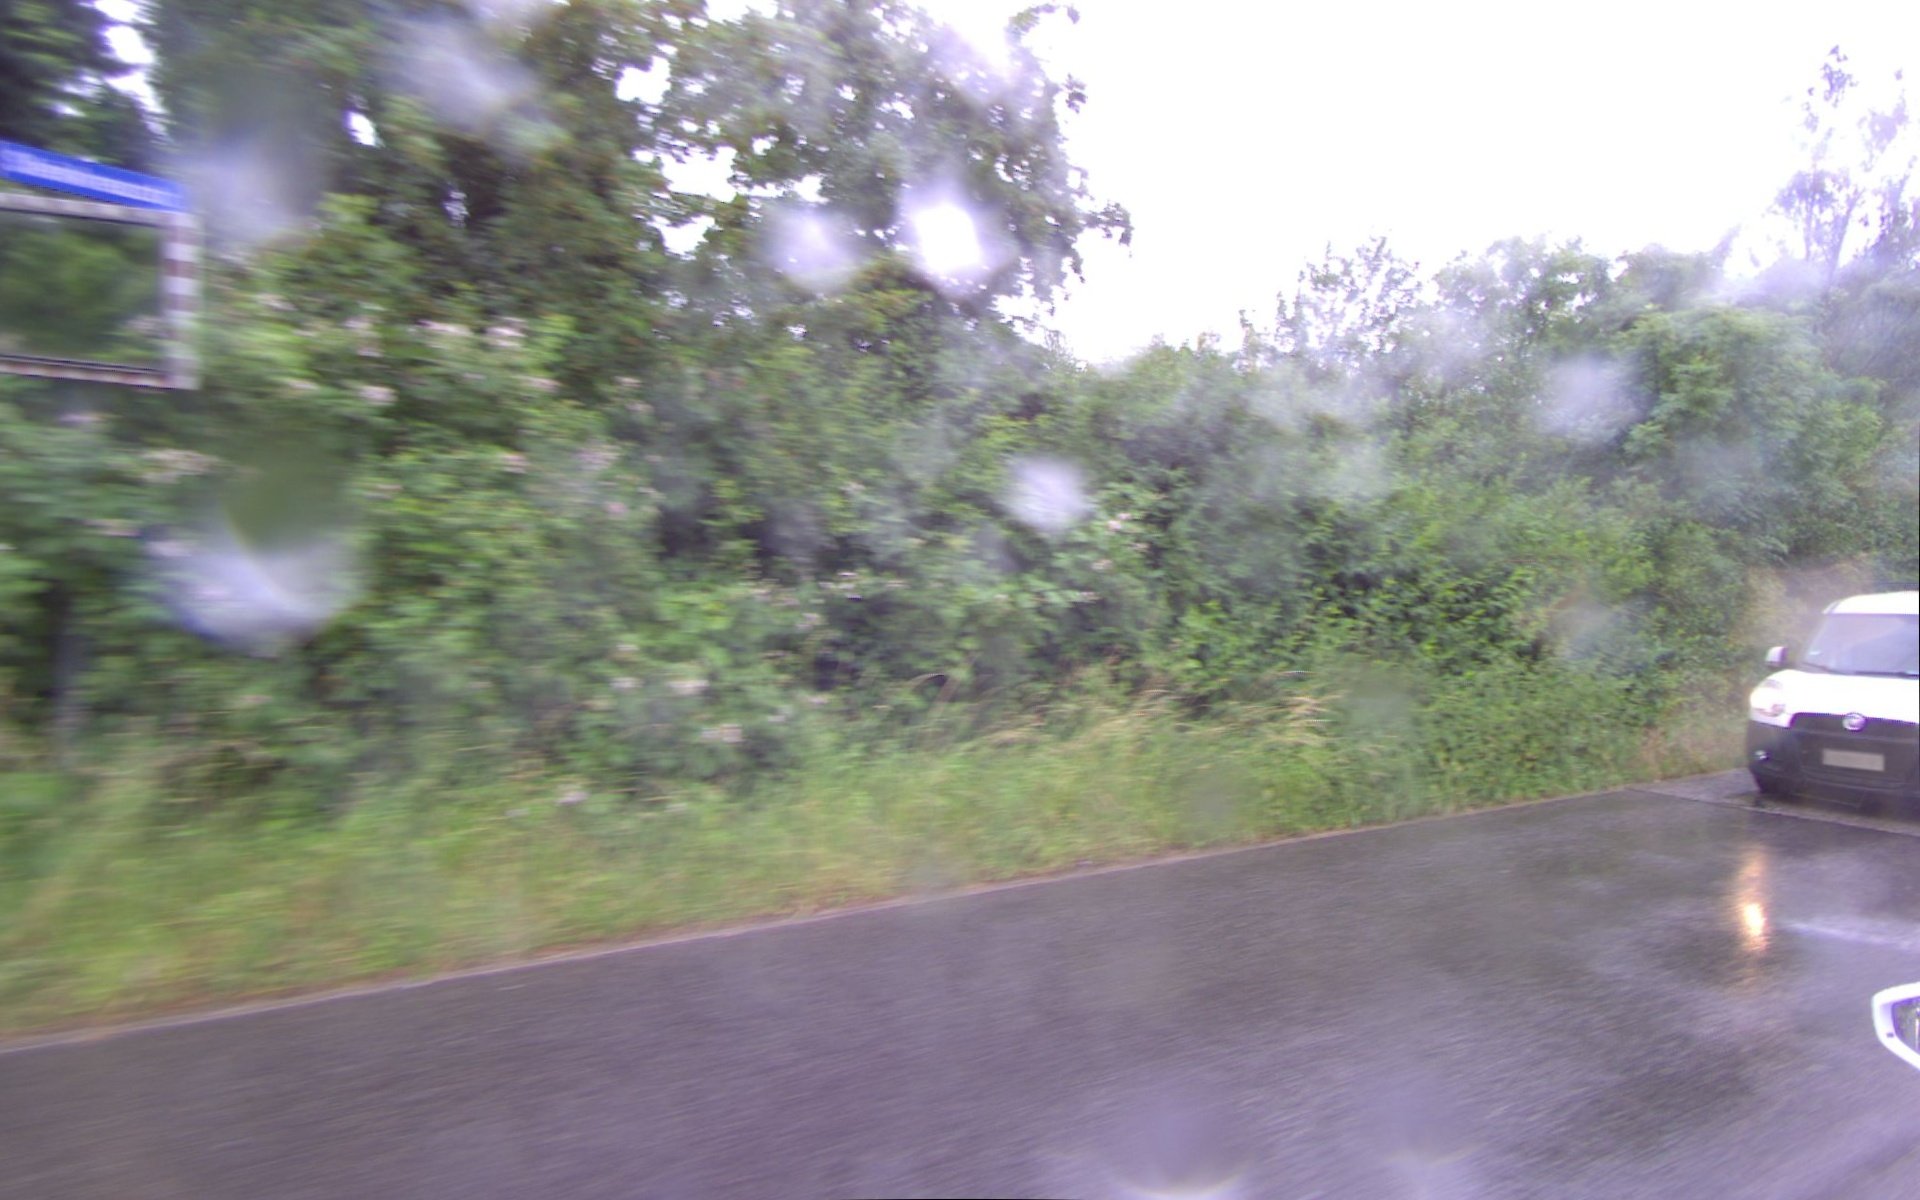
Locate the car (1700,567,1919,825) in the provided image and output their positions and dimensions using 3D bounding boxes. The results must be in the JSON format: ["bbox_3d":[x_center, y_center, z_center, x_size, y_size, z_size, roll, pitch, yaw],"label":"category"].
[{"bbox_3d":[8.469,0.738,8.773,4.261,1.856,1.813,2,0,-33],"label":"car"}]
